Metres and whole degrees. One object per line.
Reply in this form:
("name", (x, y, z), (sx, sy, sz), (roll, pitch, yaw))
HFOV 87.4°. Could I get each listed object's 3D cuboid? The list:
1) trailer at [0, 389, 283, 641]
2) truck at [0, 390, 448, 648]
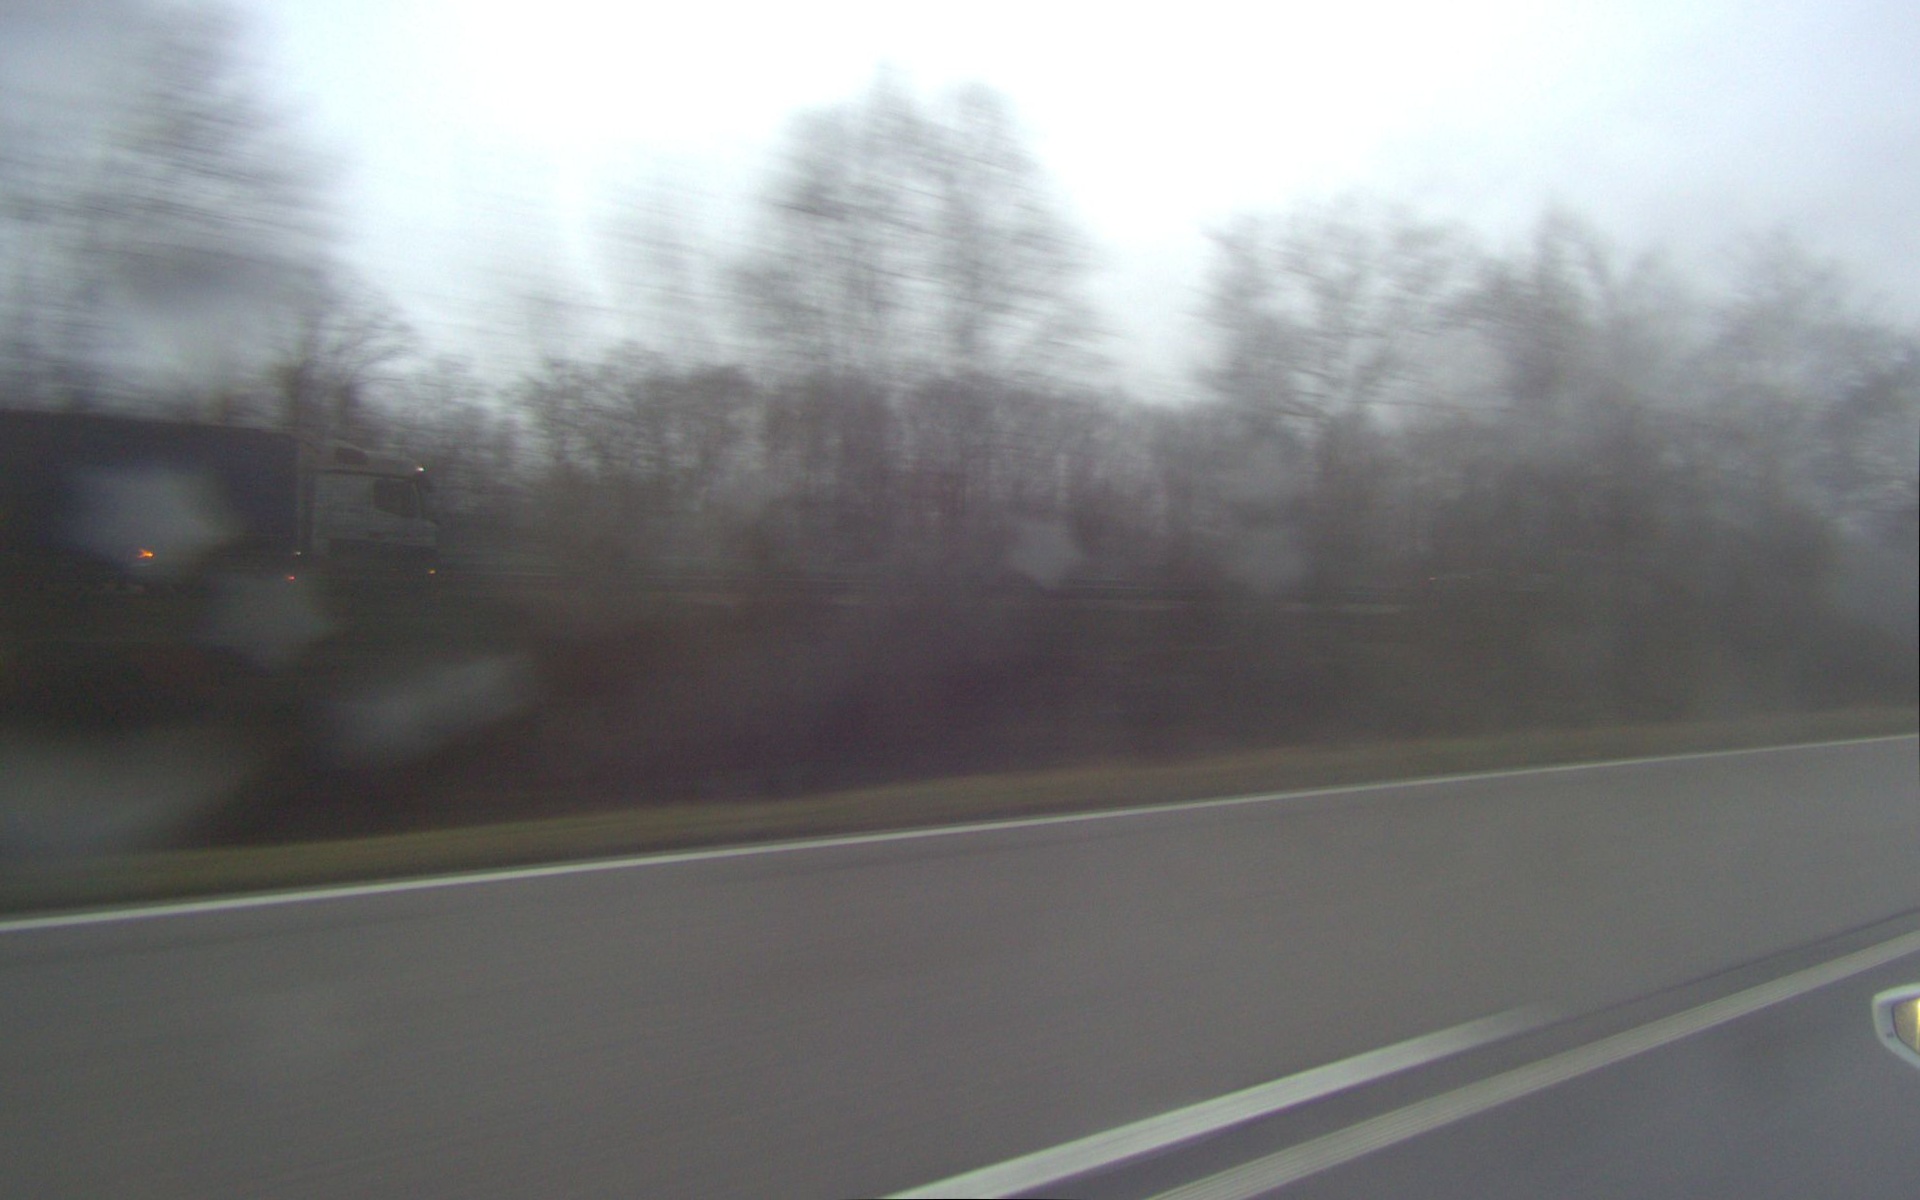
("trailer", (-22.876, -1.922, 21.692), (13.048, 5.170, 3.293), (3, -2, -24))
("truck", (-17.302, -1.599, 24.275), (8.404, 5.197, 3.266), (3, -2, -25))
